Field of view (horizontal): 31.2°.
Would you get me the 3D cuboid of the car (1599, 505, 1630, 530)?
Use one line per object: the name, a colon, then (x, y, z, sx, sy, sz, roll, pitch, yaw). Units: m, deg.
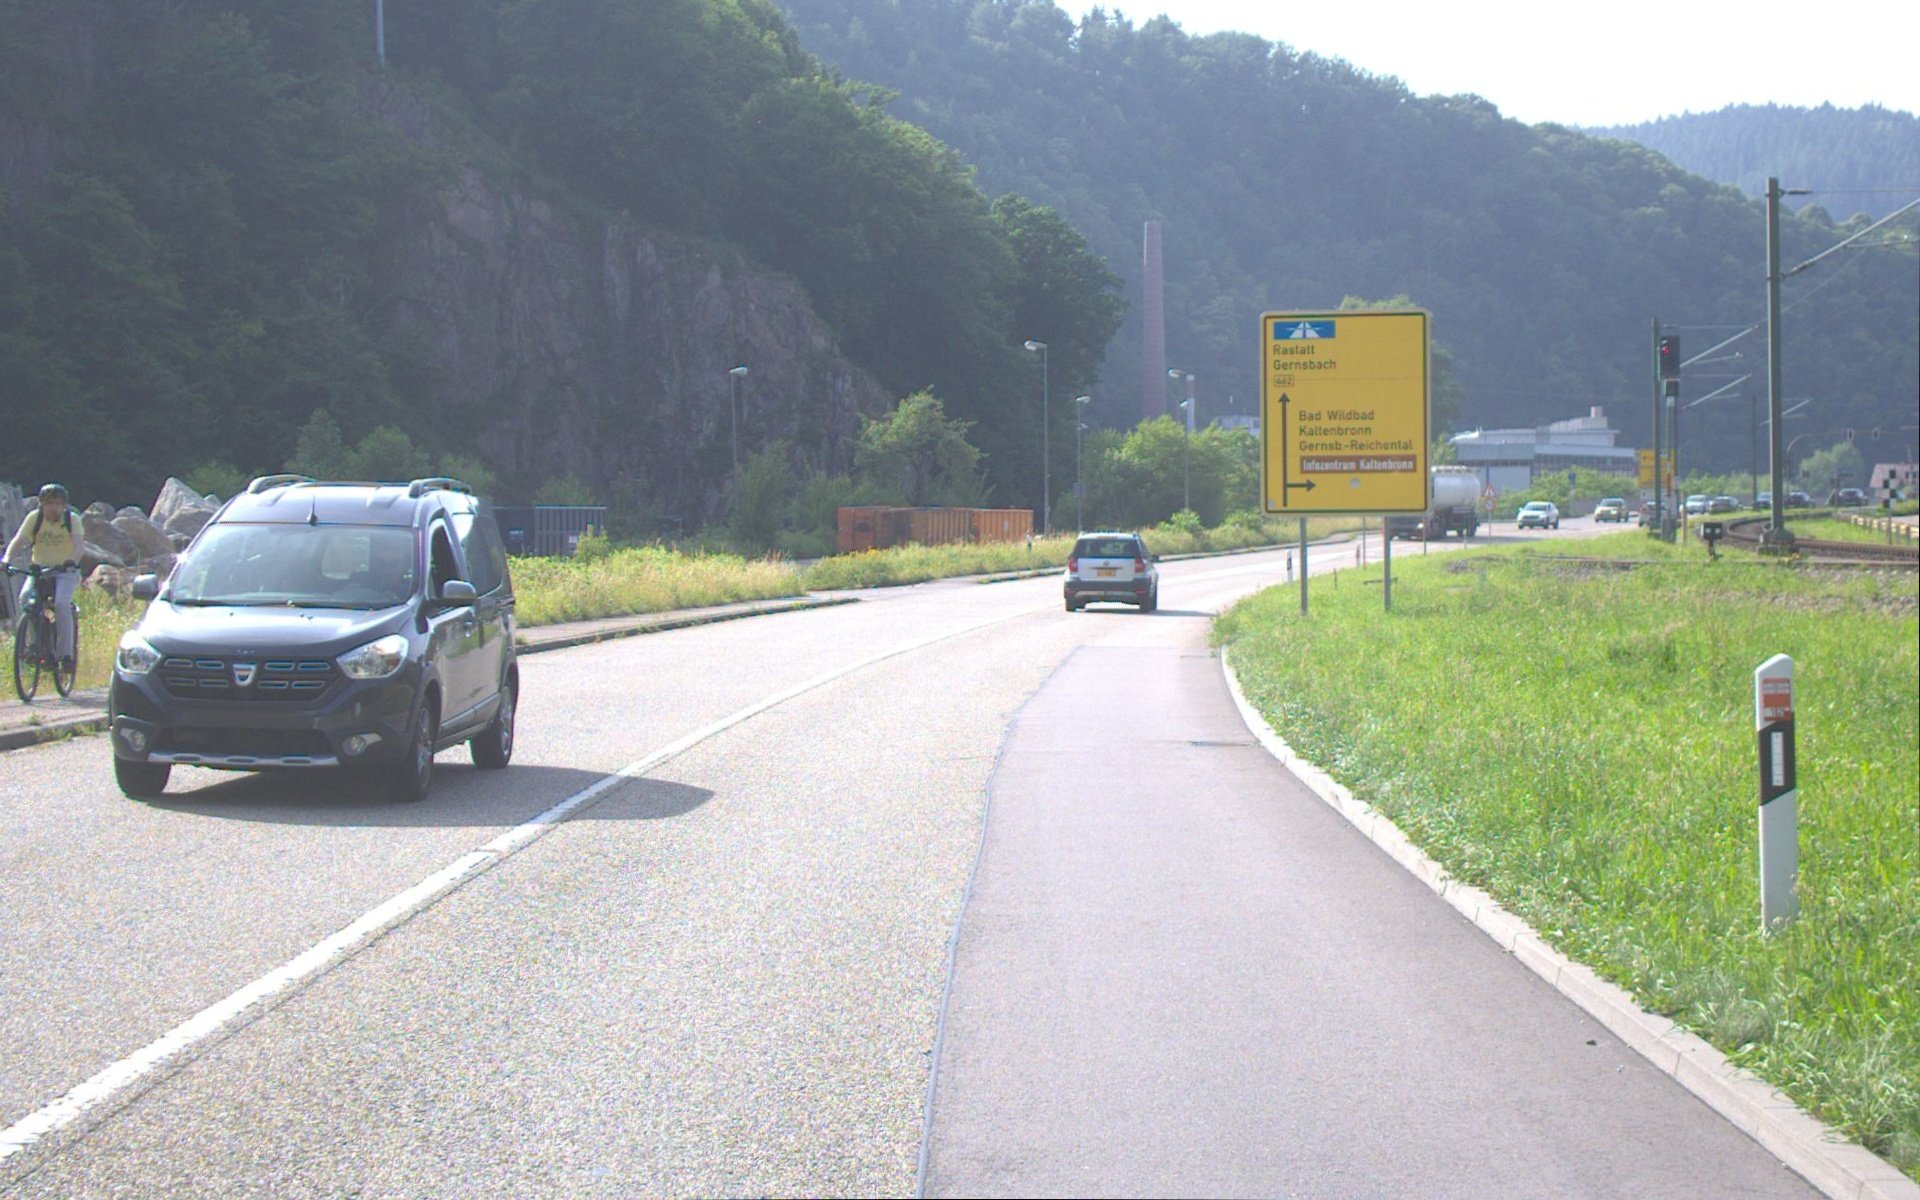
car: (44.494, -5.628, 233.629, 1.725, 1.619, 3.794, 2, 2, 15)

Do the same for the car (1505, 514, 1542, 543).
car: (35.381, -4.503, 215.763, 1.995, 1.752, 4.467, 2, 2, 12)

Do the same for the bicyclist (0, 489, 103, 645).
bicyclist: (-7.303, -0.267, 27.491, 0.684, 1.220, 0.858, 1, 1, 0)

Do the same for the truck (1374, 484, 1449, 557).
truck: (24.538, -4.304, 186.631, 2.752, 3.822, 8.192, 1, 2, 16)

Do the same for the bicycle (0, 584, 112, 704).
bicycle: (-7.317, 0.333, 27.404, 0.539, 0.878, 2.253, 1, 1, 0)

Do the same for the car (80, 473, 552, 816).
car: (-3.700, 0.194, 20.591, 1.851, 1.778, 4.684, 1, 1, 1)

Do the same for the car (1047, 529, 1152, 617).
car: (2.956, -0.582, 71.987, 1.994, 1.717, 3.990, -2, 1, 4)
